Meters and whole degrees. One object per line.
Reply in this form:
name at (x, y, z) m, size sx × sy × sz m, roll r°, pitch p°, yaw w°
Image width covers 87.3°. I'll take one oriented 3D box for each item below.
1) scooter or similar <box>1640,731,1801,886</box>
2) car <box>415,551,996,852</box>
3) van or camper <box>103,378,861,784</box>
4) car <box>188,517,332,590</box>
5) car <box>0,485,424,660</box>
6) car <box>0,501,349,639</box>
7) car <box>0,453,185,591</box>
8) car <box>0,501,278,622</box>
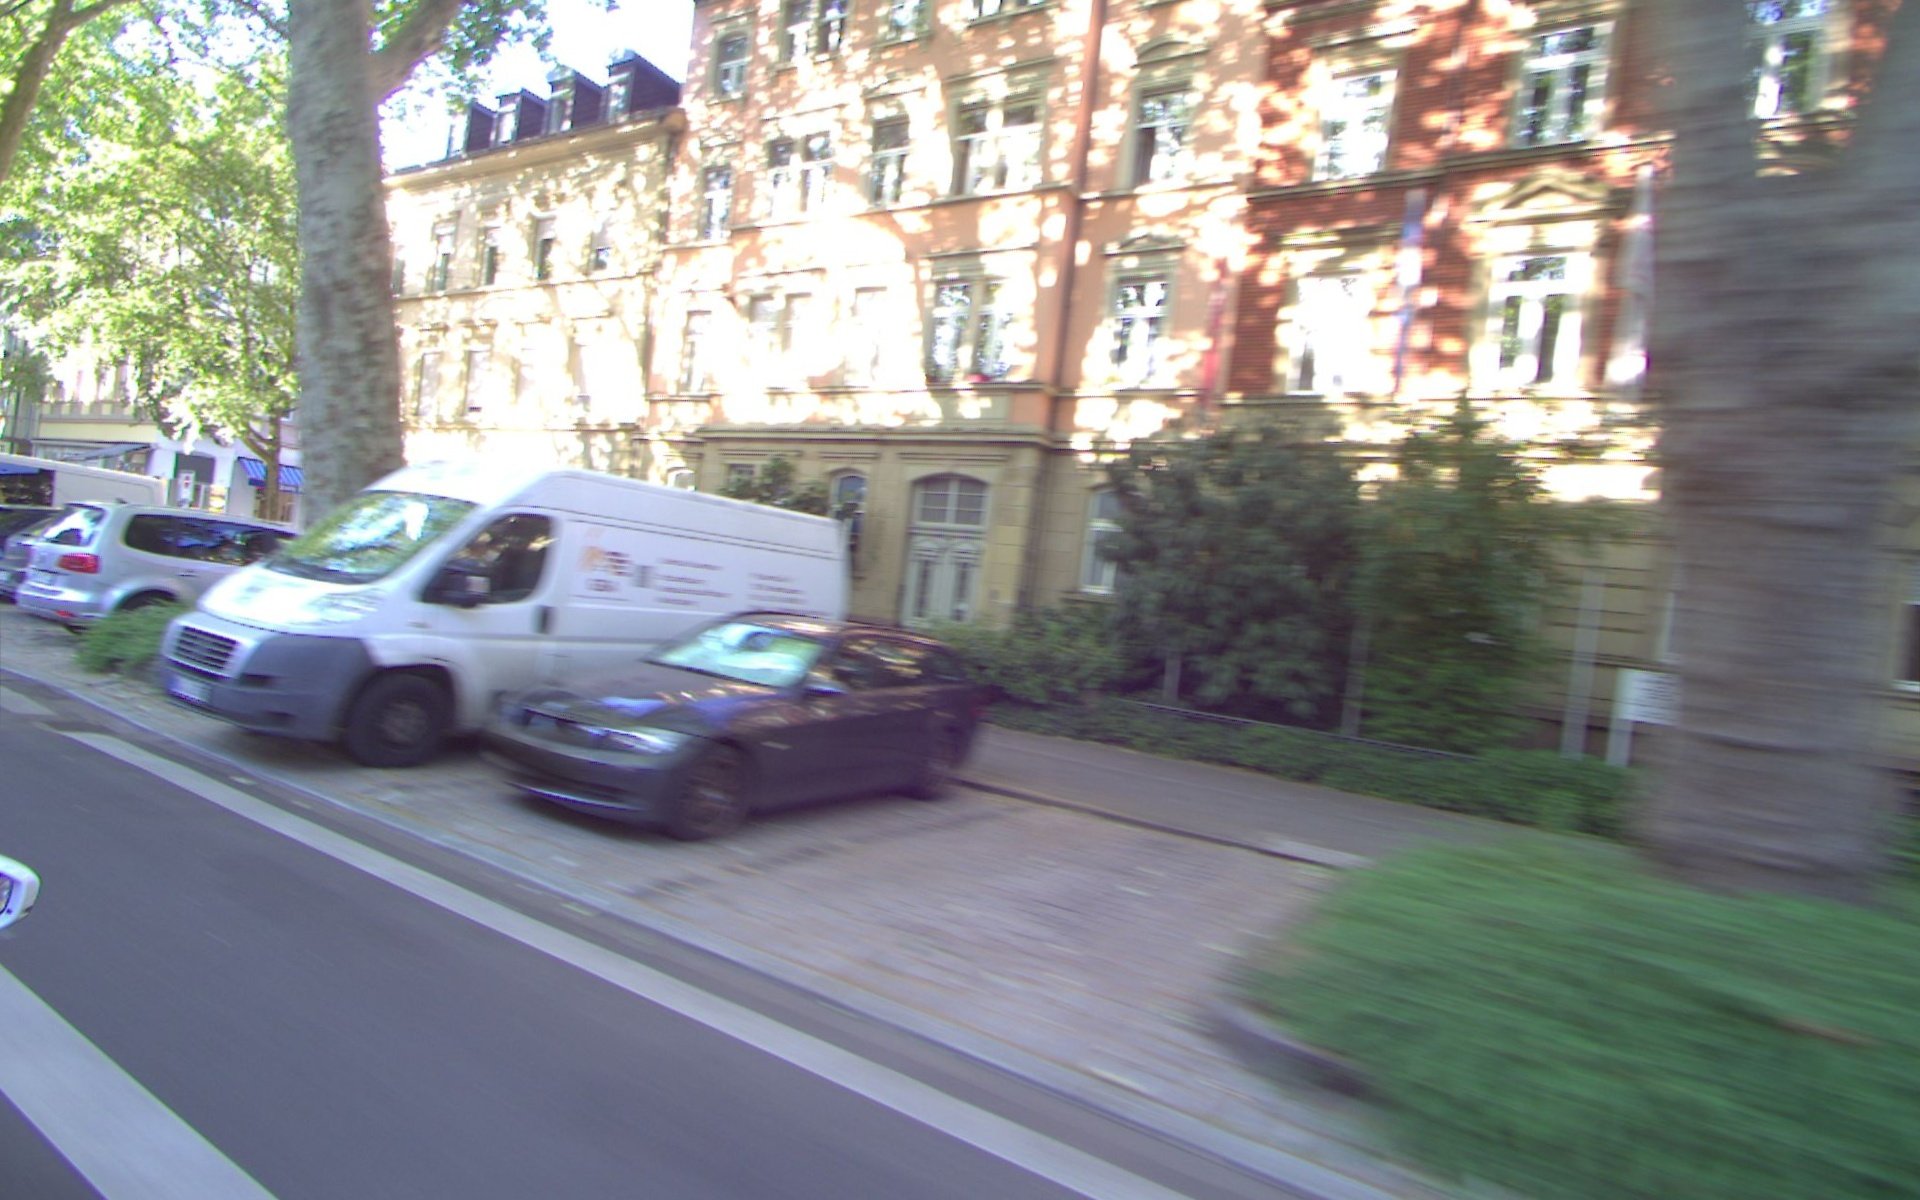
scooter or similar at (7.271, 1.960, 9.646) m, size 1.107 × 1.238 × 0.274 m, roll 7°, pitch 0°, yaw 41°
car at (-1.607, 0.740, 7.991) m, size 1.753 × 1.570 × 4.396 m, roll 7°, pitch -1°, yaw 31°
van or camper at (-3.676, 0.022, 9.350) m, size 2.072 × 2.521 × 6.042 m, roll 7°, pitch -1°, yaw 31°
car at (-19.222, -1.281, 27.631) m, size 3.509 × 1.472 × 1.737 m, roll 7°, pitch -2°, yaw 29°
car at (-9.242, -0.237, 12.685) m, size 1.765 × 1.675 × 3.963 m, roll 6°, pitch -1°, yaw 29°
car at (-11.430, -0.374, 14.549) m, size 1.766 × 1.496 × 3.961 m, roll 7°, pitch -1°, yaw 31°
car at (-18.824, -1.698, 19.144) m, size 1.973 × 2.310 × 5.998 m, roll 8°, pitch 0°, yaw 33°
car at (-13.486, -0.614, 15.880) m, size 1.766 × 1.477 × 4.061 m, roll 7°, pitch -1°, yaw 30°
